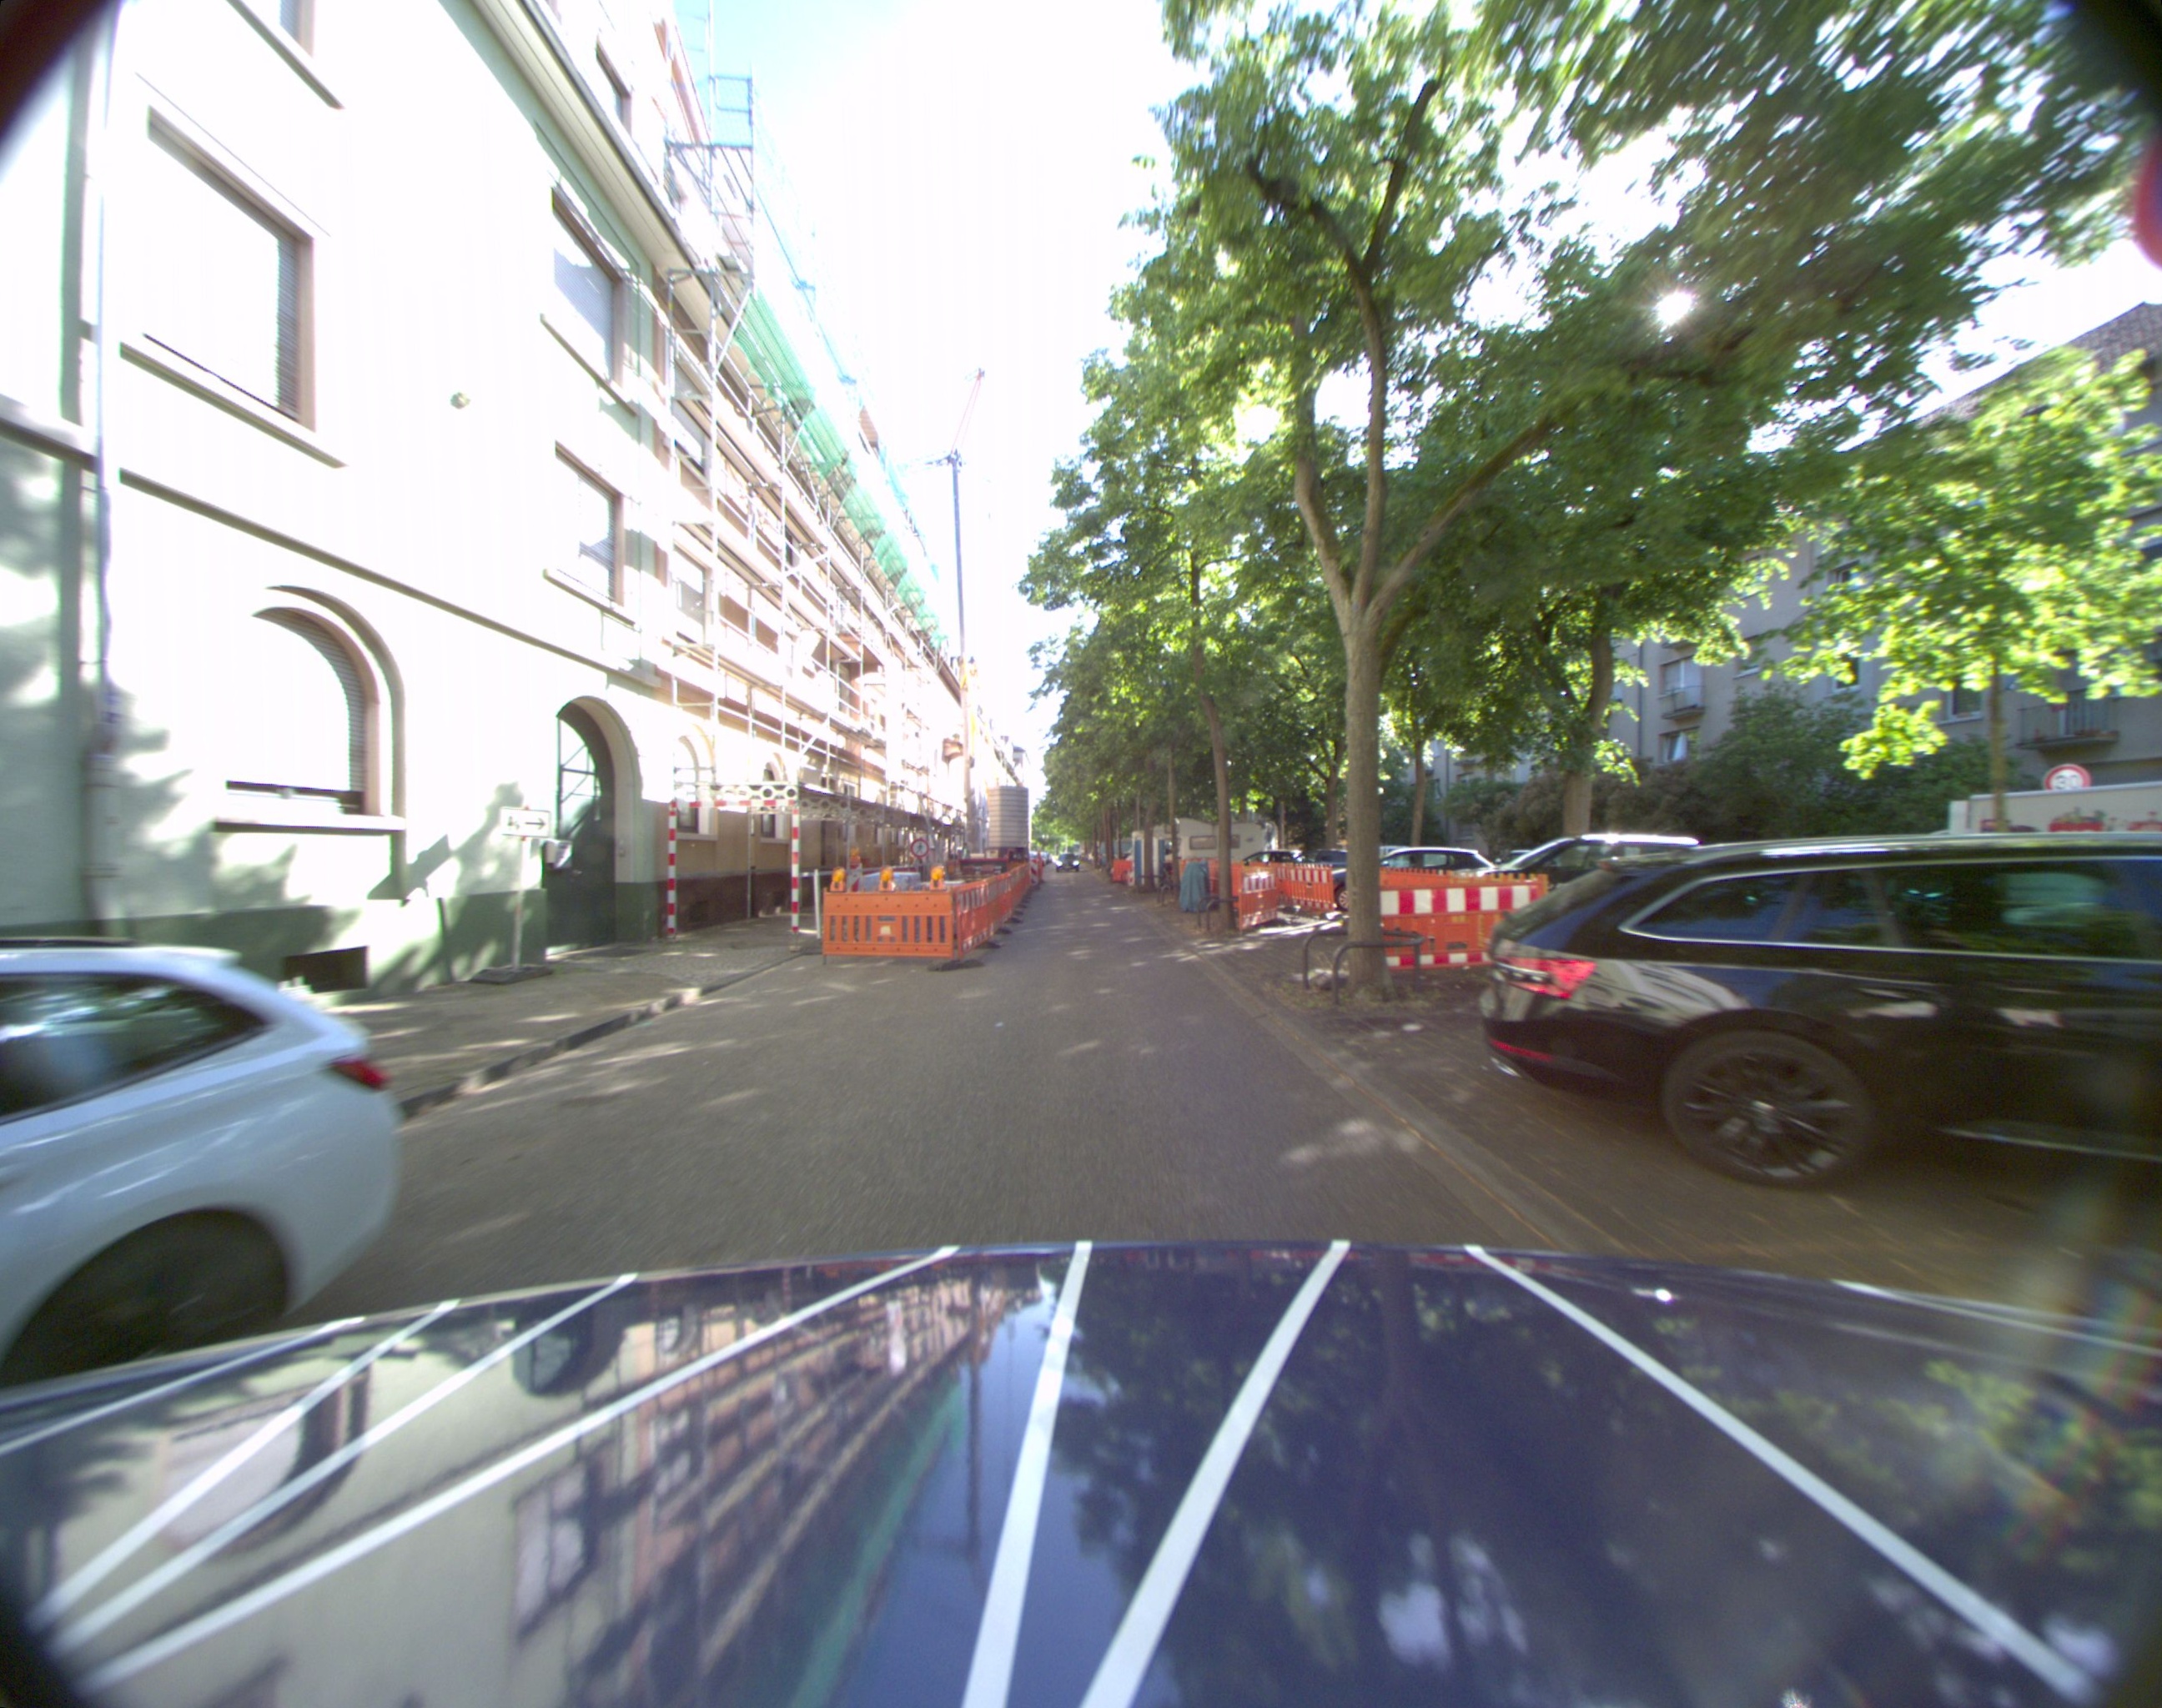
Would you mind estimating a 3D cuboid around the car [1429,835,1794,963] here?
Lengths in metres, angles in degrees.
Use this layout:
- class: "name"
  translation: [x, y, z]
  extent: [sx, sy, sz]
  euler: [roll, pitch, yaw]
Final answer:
- class: "car"
  translation: [7.466, 0.550, 11.235]
  extent: [4.123, 1.616, 1.701]
  euler: [1, 1, 22]

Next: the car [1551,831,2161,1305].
- class: "car"
  translation: [4.335, 0.678, 2.983]
  extent: [4.090, 1.516, 1.705]
  euler: [-4, -1, 29]

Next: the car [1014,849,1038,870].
- class: "car"
  translation: [-4.323, 0.390, 60.161]
  extent: [1.671, 1.590, 4.272]
  euler: [1, 0, -2]

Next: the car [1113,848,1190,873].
- class: "car"
  translation: [4.460, 0.372, 48.094]
  extent: [4.512, 1.475, 1.741]
  euler: [1, 1, 29]

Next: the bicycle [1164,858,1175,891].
- class: "bicycle"
  translation: [3.156, 0.714, 27.210]
  extent: [0.281, 1.149, 1.551]
  euler: [1, 1, 4]

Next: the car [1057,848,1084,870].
- class: "car"
  translation: [-0.775, 0.362, 59.248]
  extent: [1.792, 1.510, 4.000]
  euler: [-4, 0, 2]

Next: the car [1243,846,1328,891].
- class: "car"
  translation: [8.169, 0.548, 30.328]
  extent: [2.984, 1.707, 1.425]
  euler: [1, 1, 31]

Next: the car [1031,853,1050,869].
- class: "car"
  translation: [-4.264, 0.747, 80.281]
  extent: [1.864, 1.584, 3.999]
  euler: [1, 0, -2]

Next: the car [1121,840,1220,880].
- class: "car"
  translation: [5.993, 0.374, 50.926]
  extent: [6.186, 2.497, 2.142]
  euler: [1, 1, 26]

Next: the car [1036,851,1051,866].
- class: "car"
  translation: [-4.838, 0.560, 97.665]
  extent: [1.864, 1.772, 3.999]
  euler: [1, 0, -2]

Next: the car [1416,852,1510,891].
- class: "car"
  translation: [15.596, 0.666, 31.266]
  extent: [1.724, 1.435, 4.126]
  euler: [0, 1, -1]

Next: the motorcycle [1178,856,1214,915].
- class: "motorcycle"
  translation: [2.883, 0.742, 18.830]
  extent: [0.631, 1.317, 2.231]
  euler: [-1, 1, 14]

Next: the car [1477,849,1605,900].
- class: "car"
  translation: [15.118, 0.612, 25.264]
  extent: [1.724, 1.550, 4.112]
  euler: [0, 1, -1]

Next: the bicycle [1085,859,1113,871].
- class: "bicycle"
  translation: [1.428, 0.856, 59.129]
  extent: [2.150, 0.964, 0.609]
  euler: [1, 1, 6]

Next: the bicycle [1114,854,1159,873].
- class: "bicycle"
  translation: [2.977, 0.512, 40.826]
  extent: [2.379, 0.972, 0.502]
  euler: [-2, -1, 8]

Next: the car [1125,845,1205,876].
- class: "car"
  translation: [4.625, 0.358, 41.762]
  extent: [3.990, 1.607, 1.800]
  euler: [1, 1, 24]

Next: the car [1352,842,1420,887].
- class: "car"
  translation: [14.783, 0.468, 37.055]
  extent: [1.625, 2.002, 4.266]
  euler: [-1, 1, 0]

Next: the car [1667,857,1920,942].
- class: "car"
  translation: [15.278, 0.883, 16.659]
  extent: [1.625, 1.565, 4.193]
  euler: [-1, 1, 0]

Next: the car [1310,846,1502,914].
- class: "car"
  translation: [7.383, 0.543, 17.594]
  extent: [3.904, 1.452, 1.580]
  euler: [0, 1, 20]

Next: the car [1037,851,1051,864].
- class: "car"
  translation: [-5.073, 0.463, 103.969]
  extent: [1.864, 1.772, 3.999]
  euler: [1, 0, -2]

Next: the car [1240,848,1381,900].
- class: "car"
  translation: [7.295, 0.588, 24.268]
  extent: [3.988, 1.510, 1.674]
  euler: [1, 1, 33]

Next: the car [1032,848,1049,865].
- class: "car"
  translation: [-4.548, 0.257, 85.554]
  extent: [1.864, 1.772, 3.999]
  euler: [1, 0, -2]

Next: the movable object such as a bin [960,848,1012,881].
- class: "movable object such as a bin"
  translation: [-4.616, 0.491, 36.968]
  extent: [1.872, 1.518, 1.631]
  euler: [1, 1, 33]

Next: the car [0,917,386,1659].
- class: "car"
  translation: [-3.148, 0.976, 0.367]
  extent: [1.709, 1.503, 4.283]
  euler: [0, 1, -1]

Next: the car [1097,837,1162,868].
- class: "car"
  translation: [3.513, -0.148, 55.329]
  extent: [4.386, 2.155, 1.774]
  euler: [1, 1, 26]

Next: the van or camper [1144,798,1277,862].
- class: "van or camper"
  translation: [6.389, -1.154, 37.650]
  extent: [6.017, 2.984, 2.404]
  euler: [1, 1, 28]

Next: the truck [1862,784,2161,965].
- class: "truck"
  translation: [15.320, 0.271, 11.825]
  extent: [1.926, 2.395, 4.263]
  euler: [1, 1, 1]
